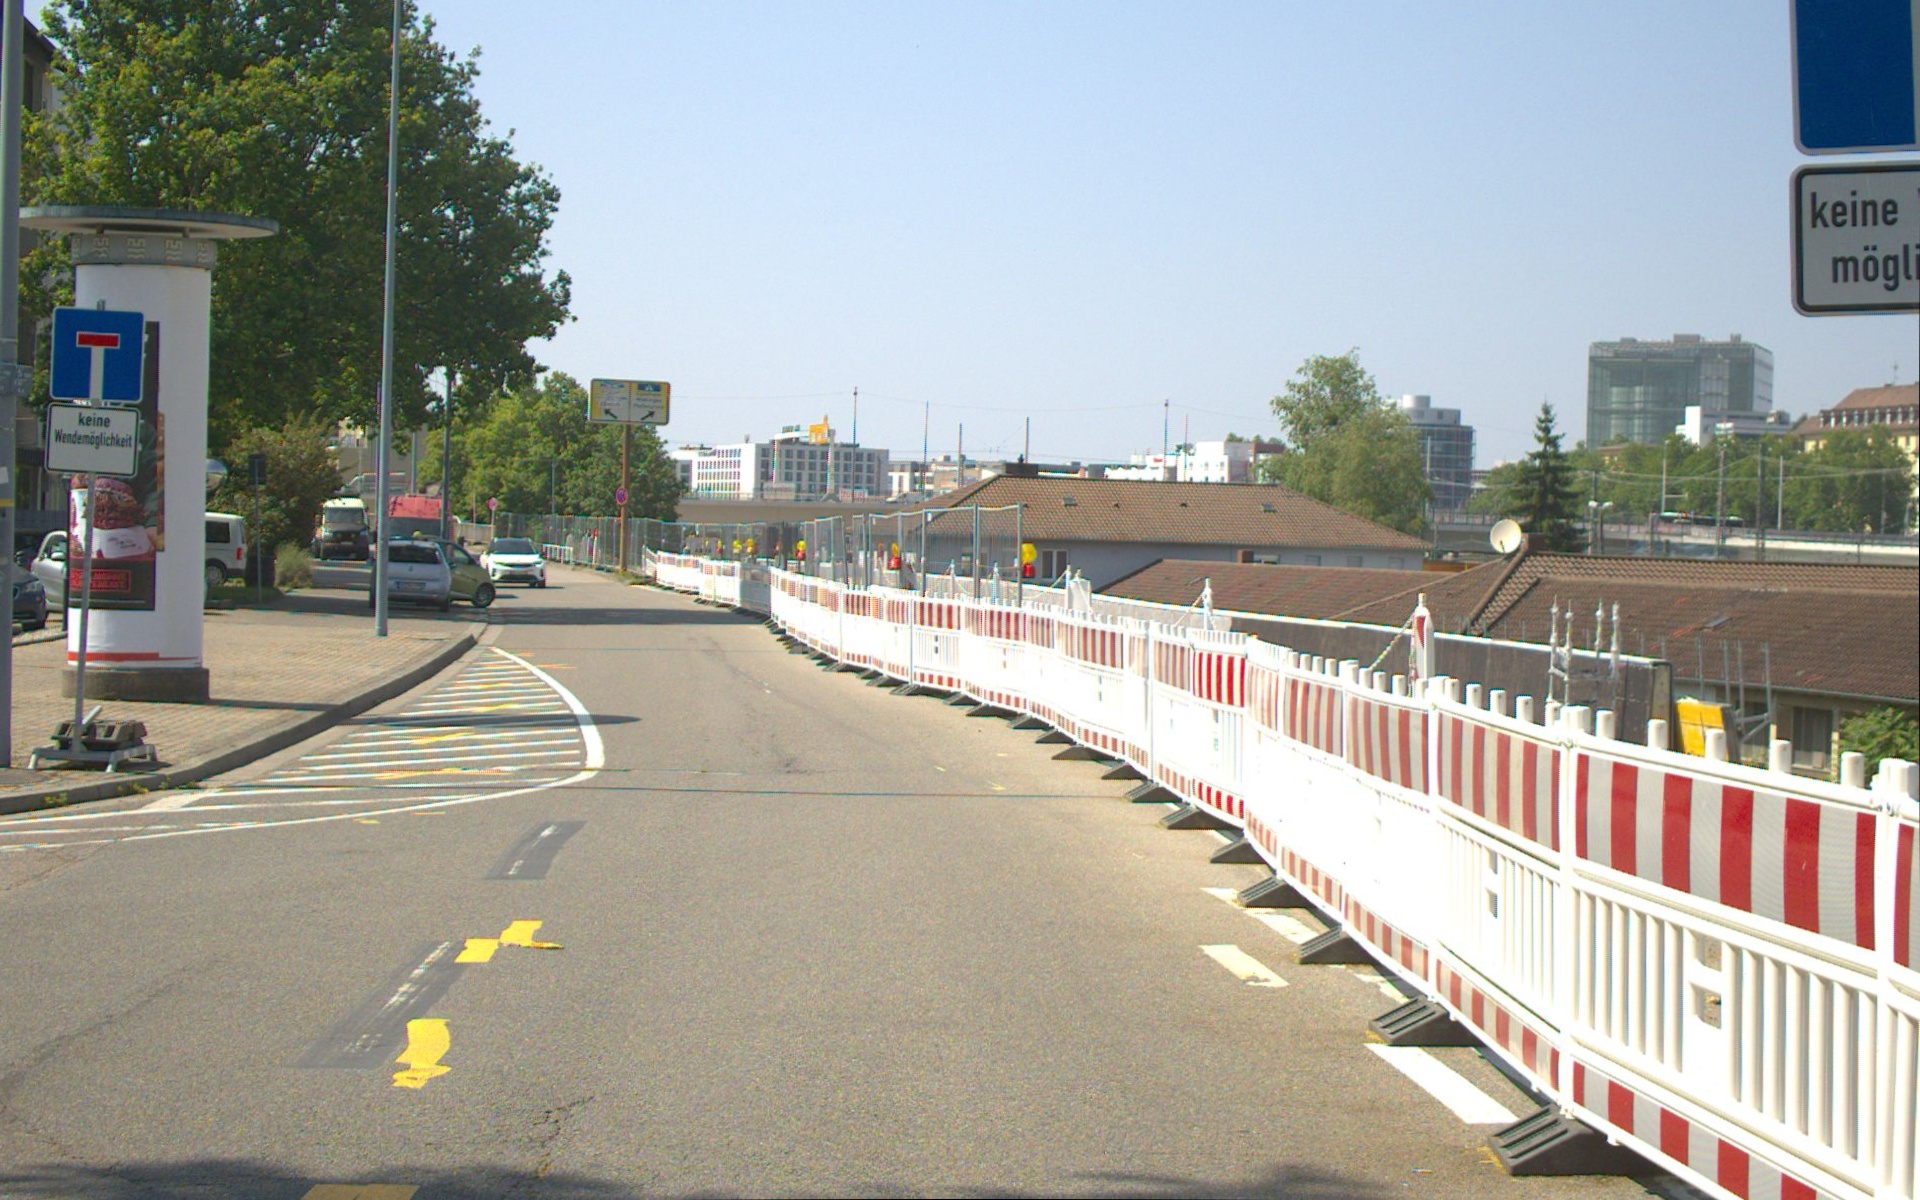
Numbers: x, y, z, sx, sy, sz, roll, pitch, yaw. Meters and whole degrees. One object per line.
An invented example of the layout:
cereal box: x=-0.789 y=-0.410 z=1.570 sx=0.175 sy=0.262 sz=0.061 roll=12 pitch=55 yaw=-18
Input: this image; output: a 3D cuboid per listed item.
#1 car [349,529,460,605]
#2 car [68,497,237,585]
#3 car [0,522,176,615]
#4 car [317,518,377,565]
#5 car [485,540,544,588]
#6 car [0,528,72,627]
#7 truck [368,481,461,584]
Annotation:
car: x=-11.784 y=-0.725 z=73.147 sx=1.869 sy=1.493 sz=4.032 roll=0 pitch=2 yaw=-3
car: x=-19.765 y=-1.450 z=84.257 sx=3.922 sy=1.952 sz=1.760 roll=2 pitch=1 yaw=-13
car: x=-14.665 y=-0.545 z=57.326 sx=1.776 sy=1.468 sz=4.000 roll=-2 pitch=2 yaw=-33
car: x=-26.538 y=-2.507 z=148.931 sx=1.936 sy=1.828 sz=3.924 roll=5 pitch=0 yaw=-3
car: x=-13.658 y=-1.107 z=105.464 sx=1.716 sy=1.411 sz=4.079 roll=1 pitch=0 yaw=-7
car: x=-15.389 y=-0.362 z=53.745 sx=1.667 sy=1.468 sz=4.000 roll=-2 pitch=2 yaw=-33
truck: x=-14.617 y=-1.774 z=92.400 sx=2.237 sy=2.639 sz=5.683 roll=1 pitch=0 yaw=-7
